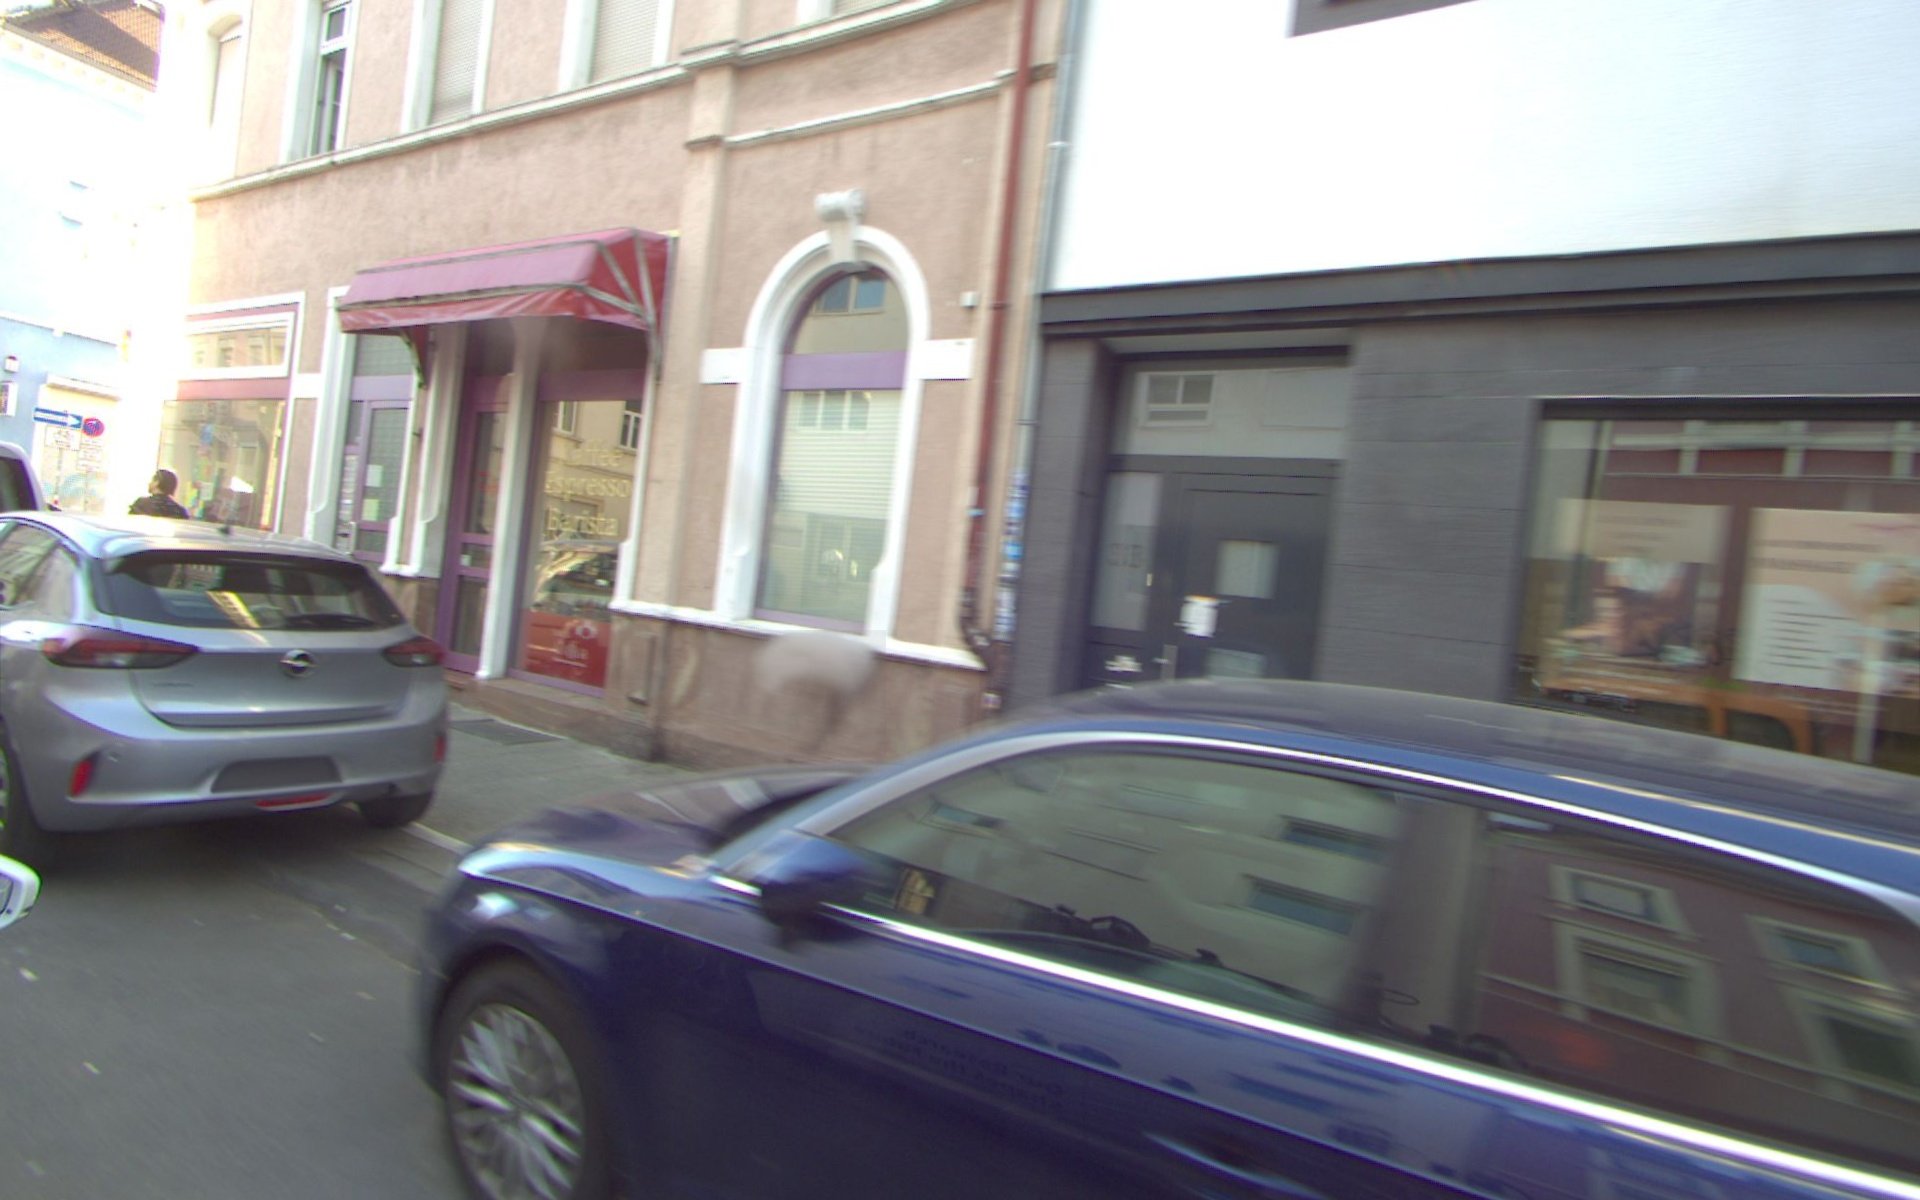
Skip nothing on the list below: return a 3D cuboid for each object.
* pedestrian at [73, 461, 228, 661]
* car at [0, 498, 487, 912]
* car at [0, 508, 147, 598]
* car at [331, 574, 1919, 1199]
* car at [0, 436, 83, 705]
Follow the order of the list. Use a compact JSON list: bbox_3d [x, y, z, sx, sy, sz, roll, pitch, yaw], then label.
[{"bbox_3d":[-7.888,-0.378,9.809,0.974,1.816,0.826,6,3,32],"label":"pedestrian"},{"bbox_3d":[-4.381,0.253,5.200,3.817,1.426,1.610,6,1,32],"label":"car"},{"bbox_3d":[-18.546,-1.025,19.537,1.649,1.471,3.873,7,-1,32],"label":"car"},{"bbox_3d":[0.465,0.856,2.263,3.820,1.413,1.732,6,1,34],"label":"car"},{"bbox_3d":[-8.624,-0.424,7.576,4.297,1.839,1.750,6,0,32],"label":"car"}]
